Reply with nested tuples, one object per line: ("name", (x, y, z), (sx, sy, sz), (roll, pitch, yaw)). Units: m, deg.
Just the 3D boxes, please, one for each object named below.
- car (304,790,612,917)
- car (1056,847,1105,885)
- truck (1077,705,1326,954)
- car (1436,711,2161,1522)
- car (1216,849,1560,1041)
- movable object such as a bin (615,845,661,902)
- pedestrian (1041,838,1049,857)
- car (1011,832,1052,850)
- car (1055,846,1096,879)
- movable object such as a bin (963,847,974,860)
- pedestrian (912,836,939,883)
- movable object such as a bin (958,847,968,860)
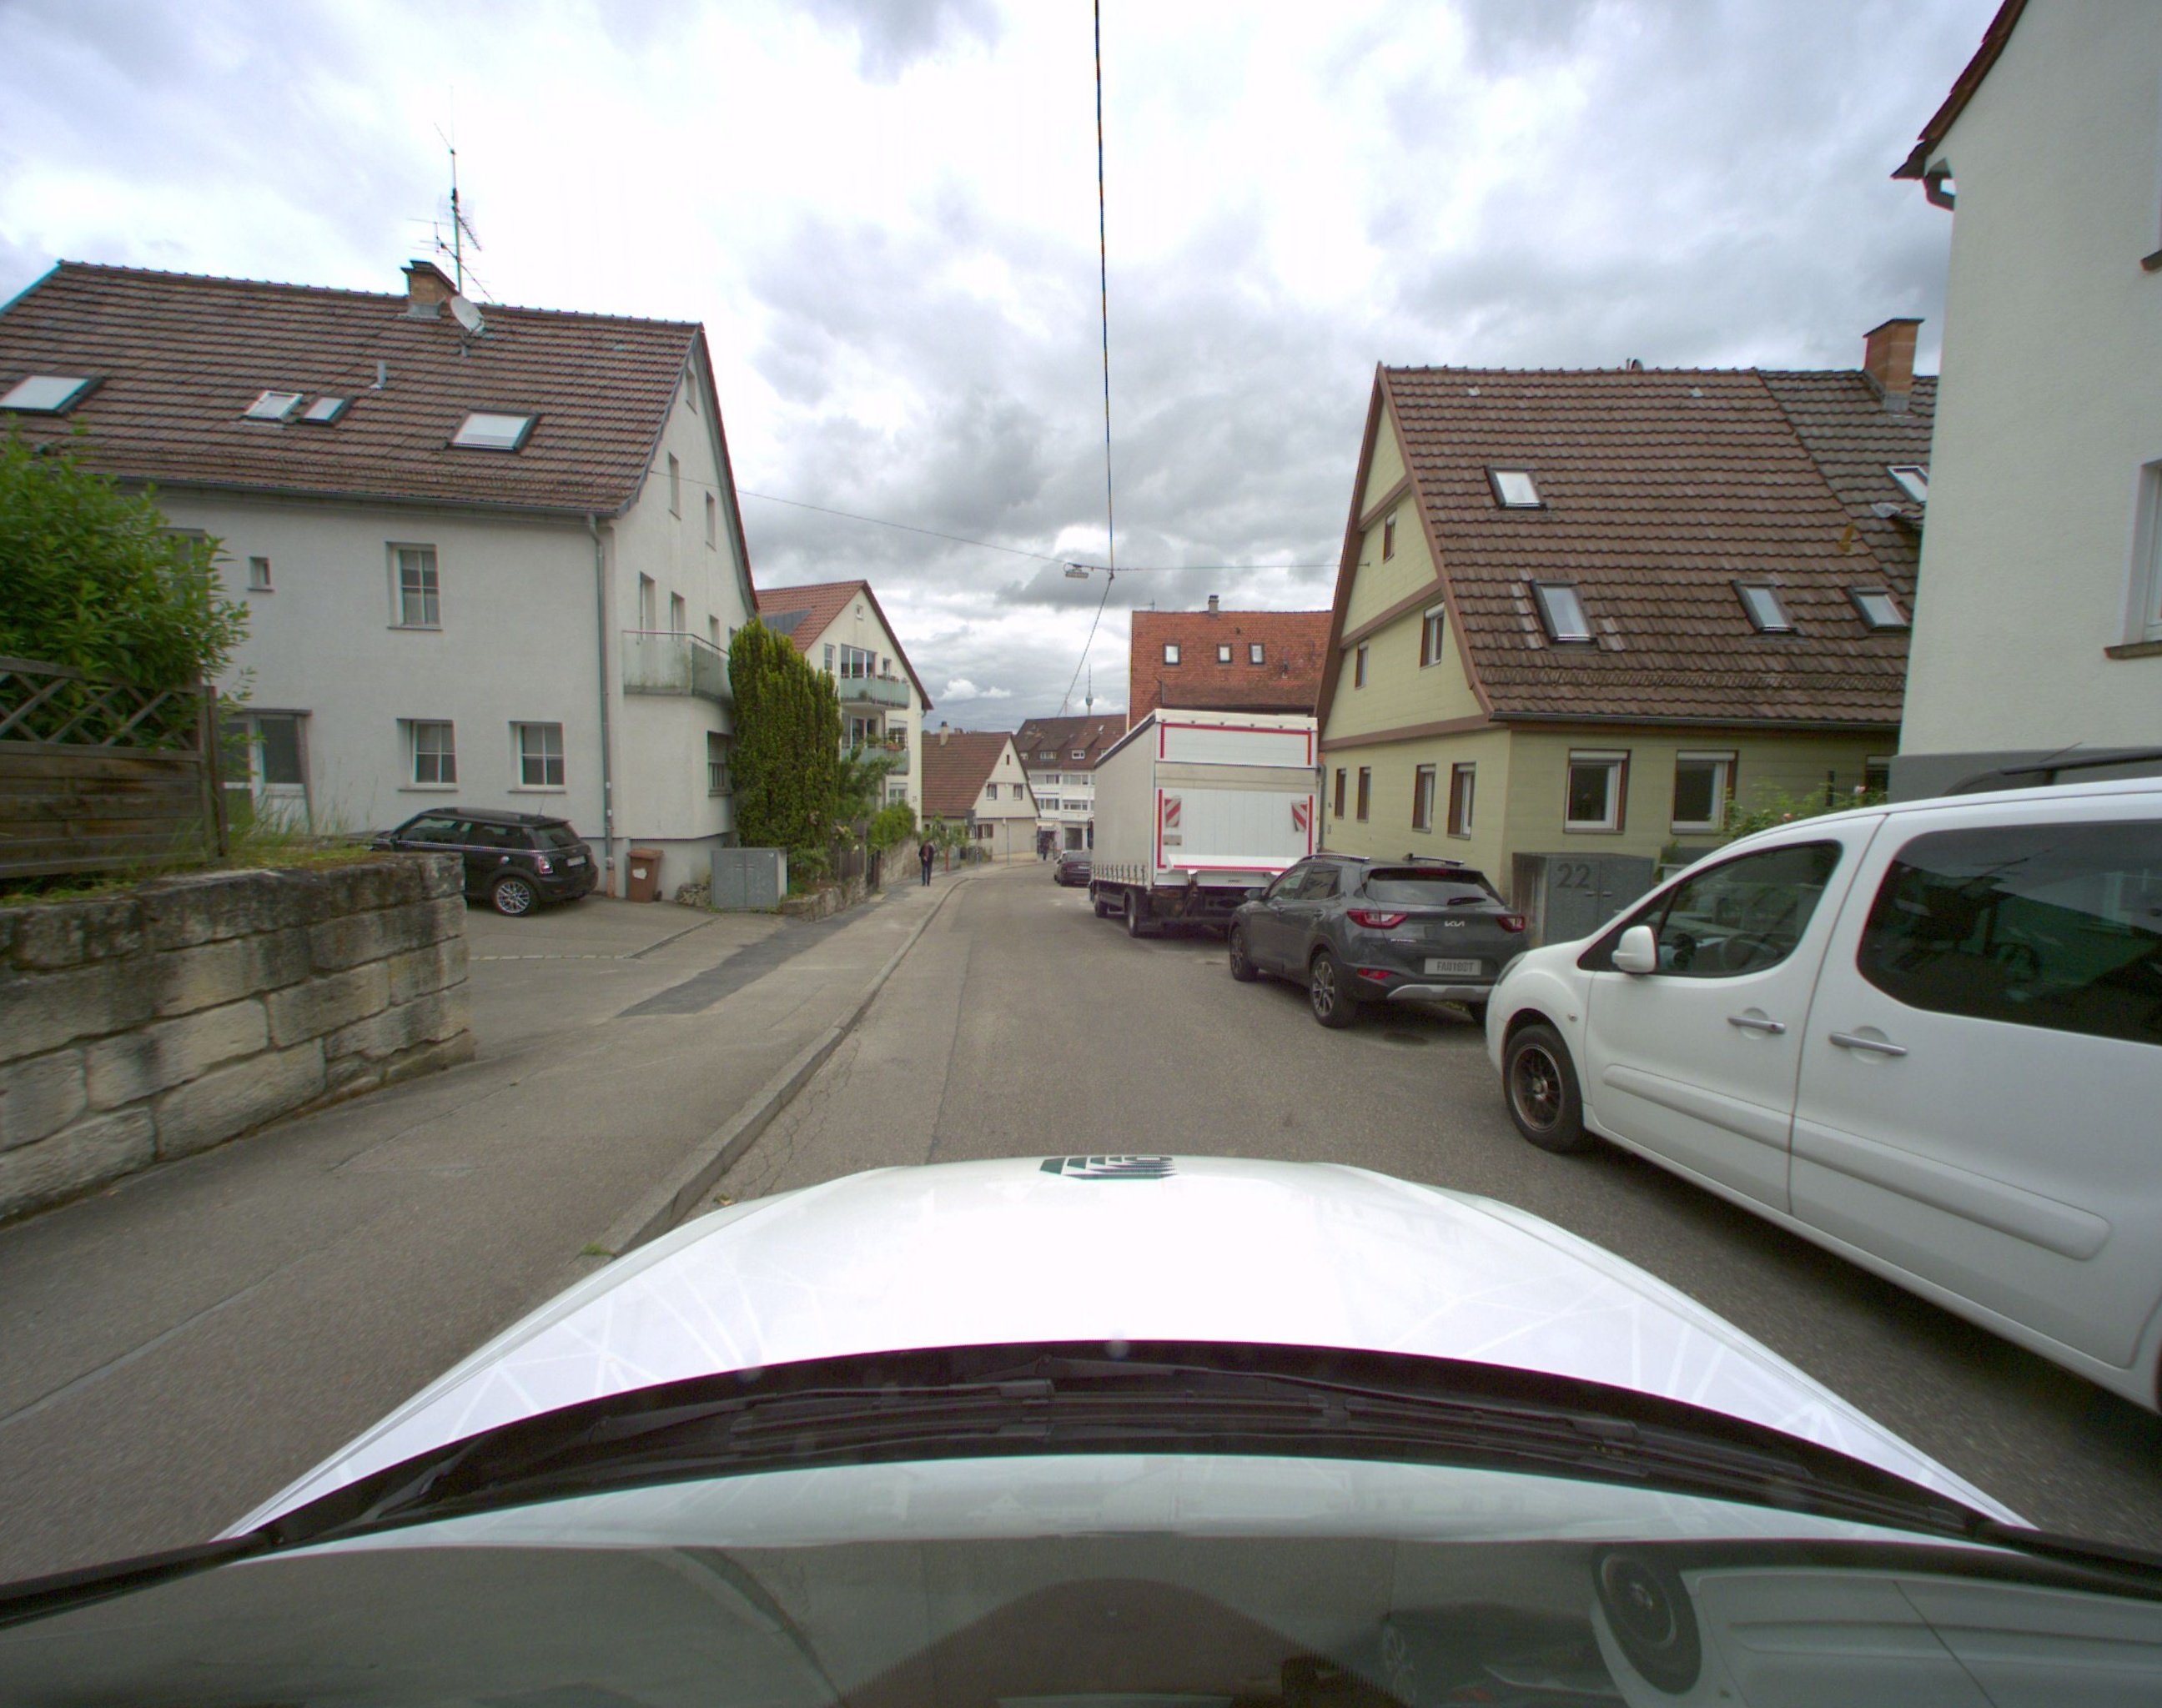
("car", (-9.602, -0.045, 12.777), (3.396, 1.468, 1.624), (7, 5, -6))
("car", (-0.085, 0.459, 34.206), (1.671, 1.408, 4.045), (2, 0, -5))
("truck", (1.786, -0.398, 15.987), (2.674, 3.597, 8.085), (1, 1, -7))
("car", (3.295, 0.595, 3.060), (1.831, 1.814, 4.300), (2, 1, -3))
("car", (2.821, 0.733, 8.557), (1.730, 1.506, 4.043), (2, 0, -6))
("movable object such as a bin", (-7.776, 0.335, 14.319), (0.512, 0.901, 0.431), (7, 5, -7))
("pedestrian", (-3.266, -0.569, 74.081), (0.647, 1.684, 0.601), (1, 2, -14))
("car", (-5.491, -1.440, 89.483), (4.313, 1.779, 1.960), (2, 3, 39))
("car", (-0.300, 0.379, 39.627), (1.790, 1.445, 4.294), (2, 1, -3))
("movable object such as a bin", (-8.012, -0.041, 58.094), (0.522, 0.917, 0.493), (5, 1, 29))
("pedestrian", (-5.730, 0.191, 30.123), (0.839, 1.677, 0.974), (2, 0, -7))
("movable object such as a bin", (-8.464, -0.063, 58.398), (0.490, 0.878, 0.455), (5, 1, 29))
